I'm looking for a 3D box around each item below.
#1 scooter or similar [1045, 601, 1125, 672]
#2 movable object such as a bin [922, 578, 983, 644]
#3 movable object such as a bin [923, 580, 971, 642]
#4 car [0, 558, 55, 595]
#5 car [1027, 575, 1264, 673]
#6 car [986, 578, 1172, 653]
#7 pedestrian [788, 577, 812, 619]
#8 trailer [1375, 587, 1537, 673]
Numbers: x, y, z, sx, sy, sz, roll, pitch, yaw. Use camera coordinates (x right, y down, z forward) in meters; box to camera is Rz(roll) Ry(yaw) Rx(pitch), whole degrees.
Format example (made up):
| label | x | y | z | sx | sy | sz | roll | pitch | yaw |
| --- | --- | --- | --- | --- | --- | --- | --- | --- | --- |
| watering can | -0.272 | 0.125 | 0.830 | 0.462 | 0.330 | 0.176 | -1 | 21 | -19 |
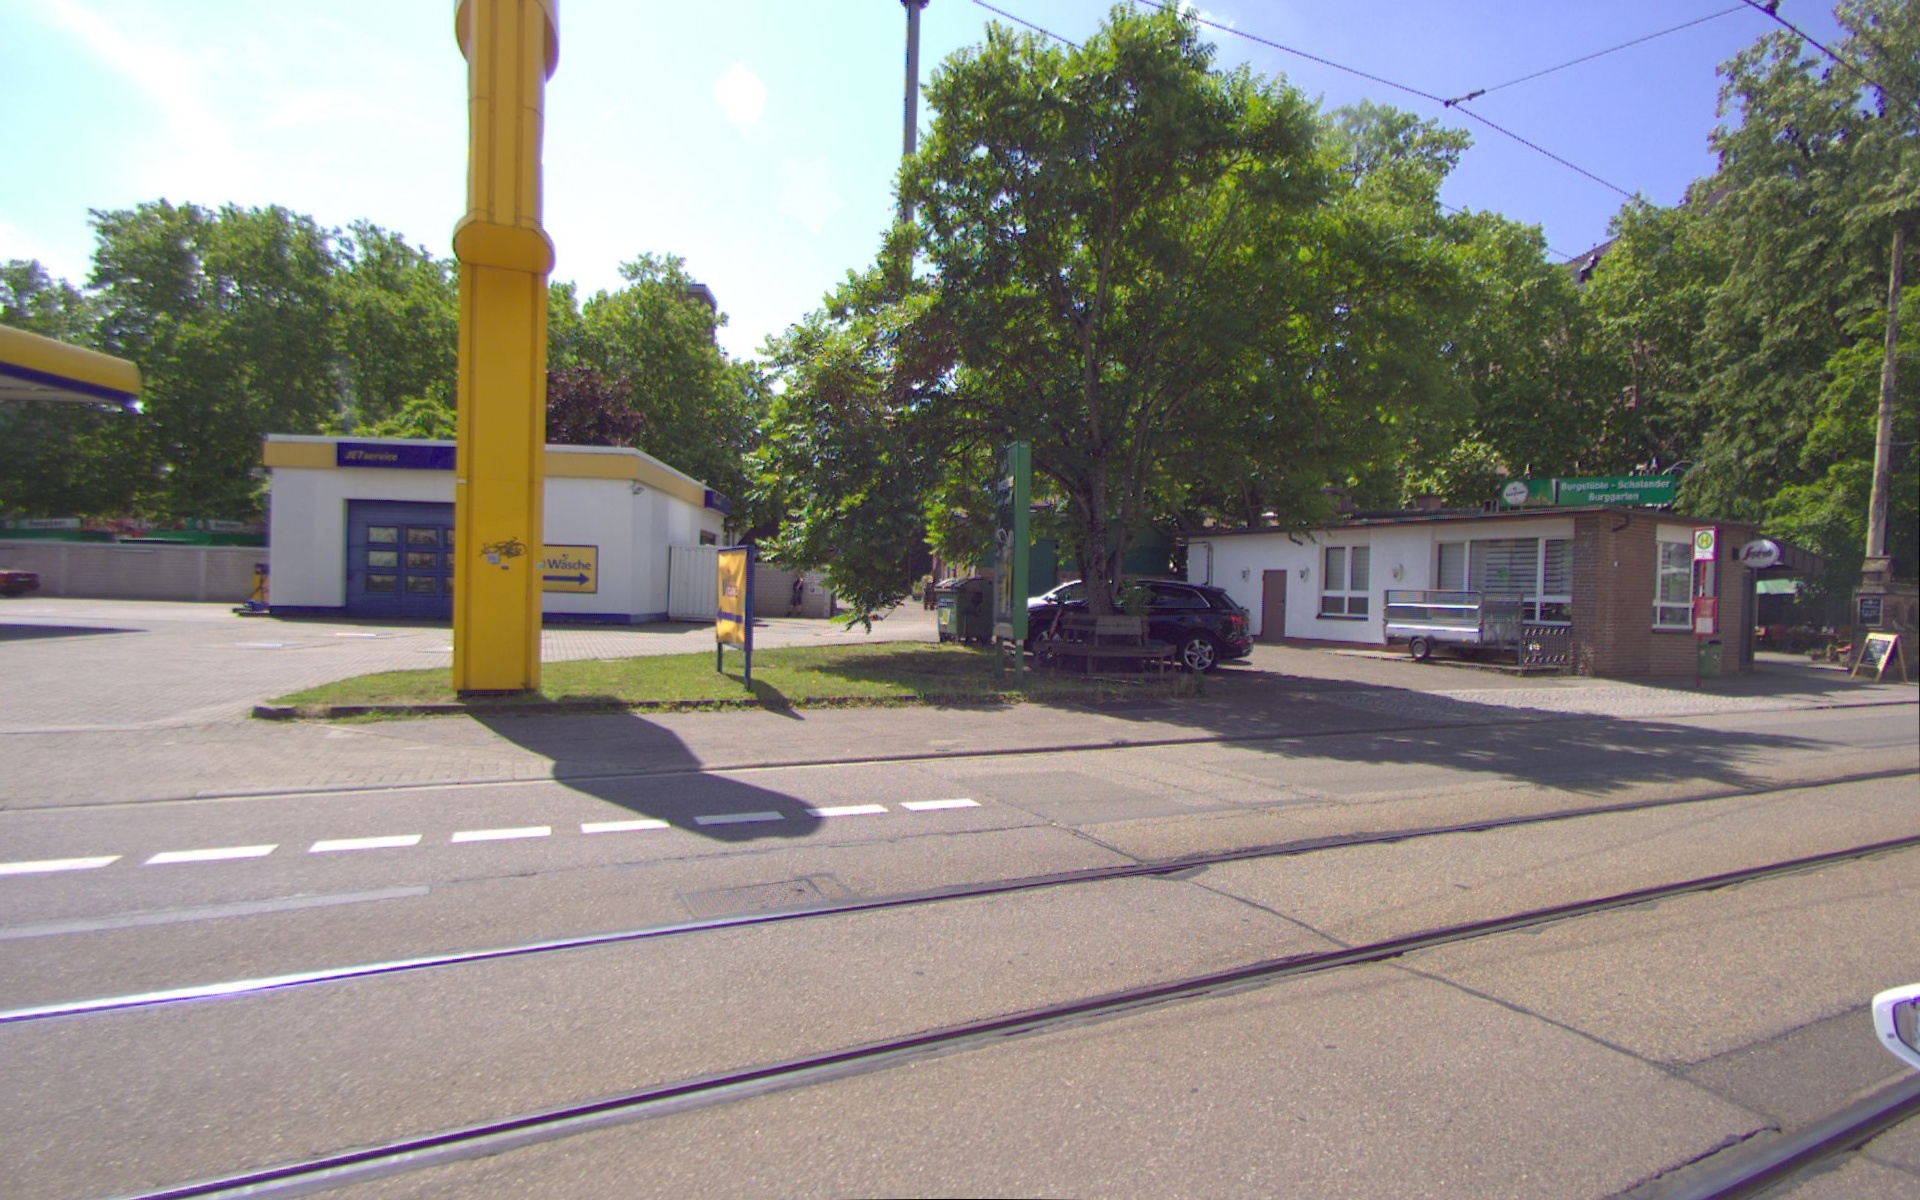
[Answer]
| label | x | y | z | sx | sy | sz | roll | pitch | yaw |
| --- | --- | --- | --- | --- | --- | --- | --- | --- | --- |
| scooter or similar | 2.226 | 0.633 | 17.912 | 1.333 | 1.190 | 0.406 | 2 | 1 | 16 |
| movable object such as a bin | -0.174 | 0.223 | 21.645 | 0.749 | 1.372 | 1.338 | 1 | 1 | -29 |
| movable object such as a bin | -0.310 | 0.234 | 22.971 | 0.746 | 1.372 | 1.344 | 1 | 1 | -15 |
| car | -34.541 | -0.877 | 35.153 | 3.926 | 1.227 | 1.756 | 2 | 1 | -8 |
| car | 3.611 | 0.410 | 19.329 | 4.247 | 1.611 | 2.000 | 2 | 1 | 17 |
| car | 2.973 | 0.343 | 25.064 | 4.248 | 1.613 | 1.910 | 2 | 1 | 20 |
| pedestrian | -6.095 | -0.087 | 38.300 | 0.822 | 1.575 | 0.731 | 2 | 1 | -7 |
| trailer | 11.028 | 0.626 | 22.477 | 1.600 | 1.726 | 2.820 | 1 | 1 | -26 |
